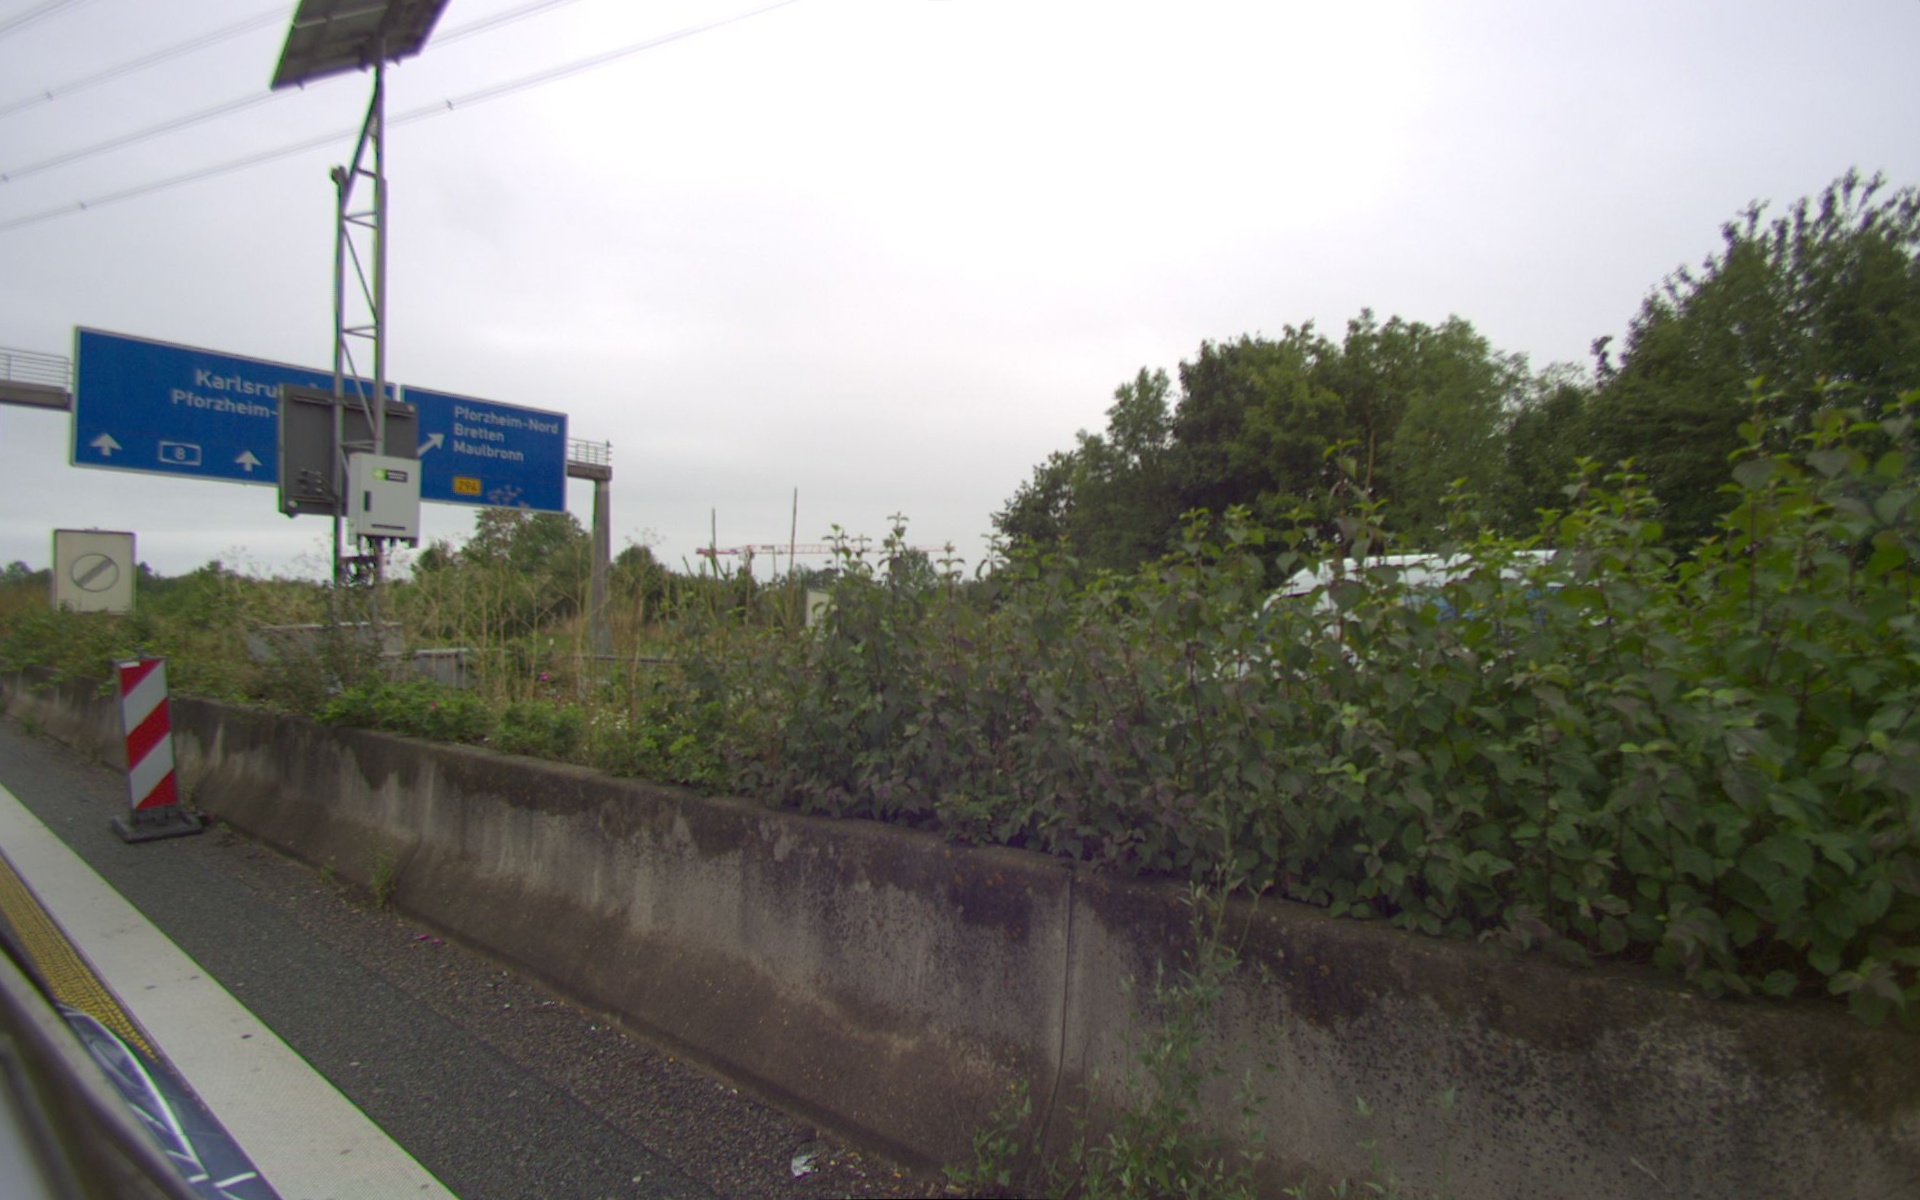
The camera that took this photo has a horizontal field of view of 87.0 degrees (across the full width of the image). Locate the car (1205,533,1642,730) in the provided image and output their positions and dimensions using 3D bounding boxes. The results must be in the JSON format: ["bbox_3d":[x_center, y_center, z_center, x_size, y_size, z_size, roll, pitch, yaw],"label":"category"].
[{"bbox_3d":[6.338,0.417,14.282,5.201,2.282,2.157,-1,-1,41],"label":"car"}]
